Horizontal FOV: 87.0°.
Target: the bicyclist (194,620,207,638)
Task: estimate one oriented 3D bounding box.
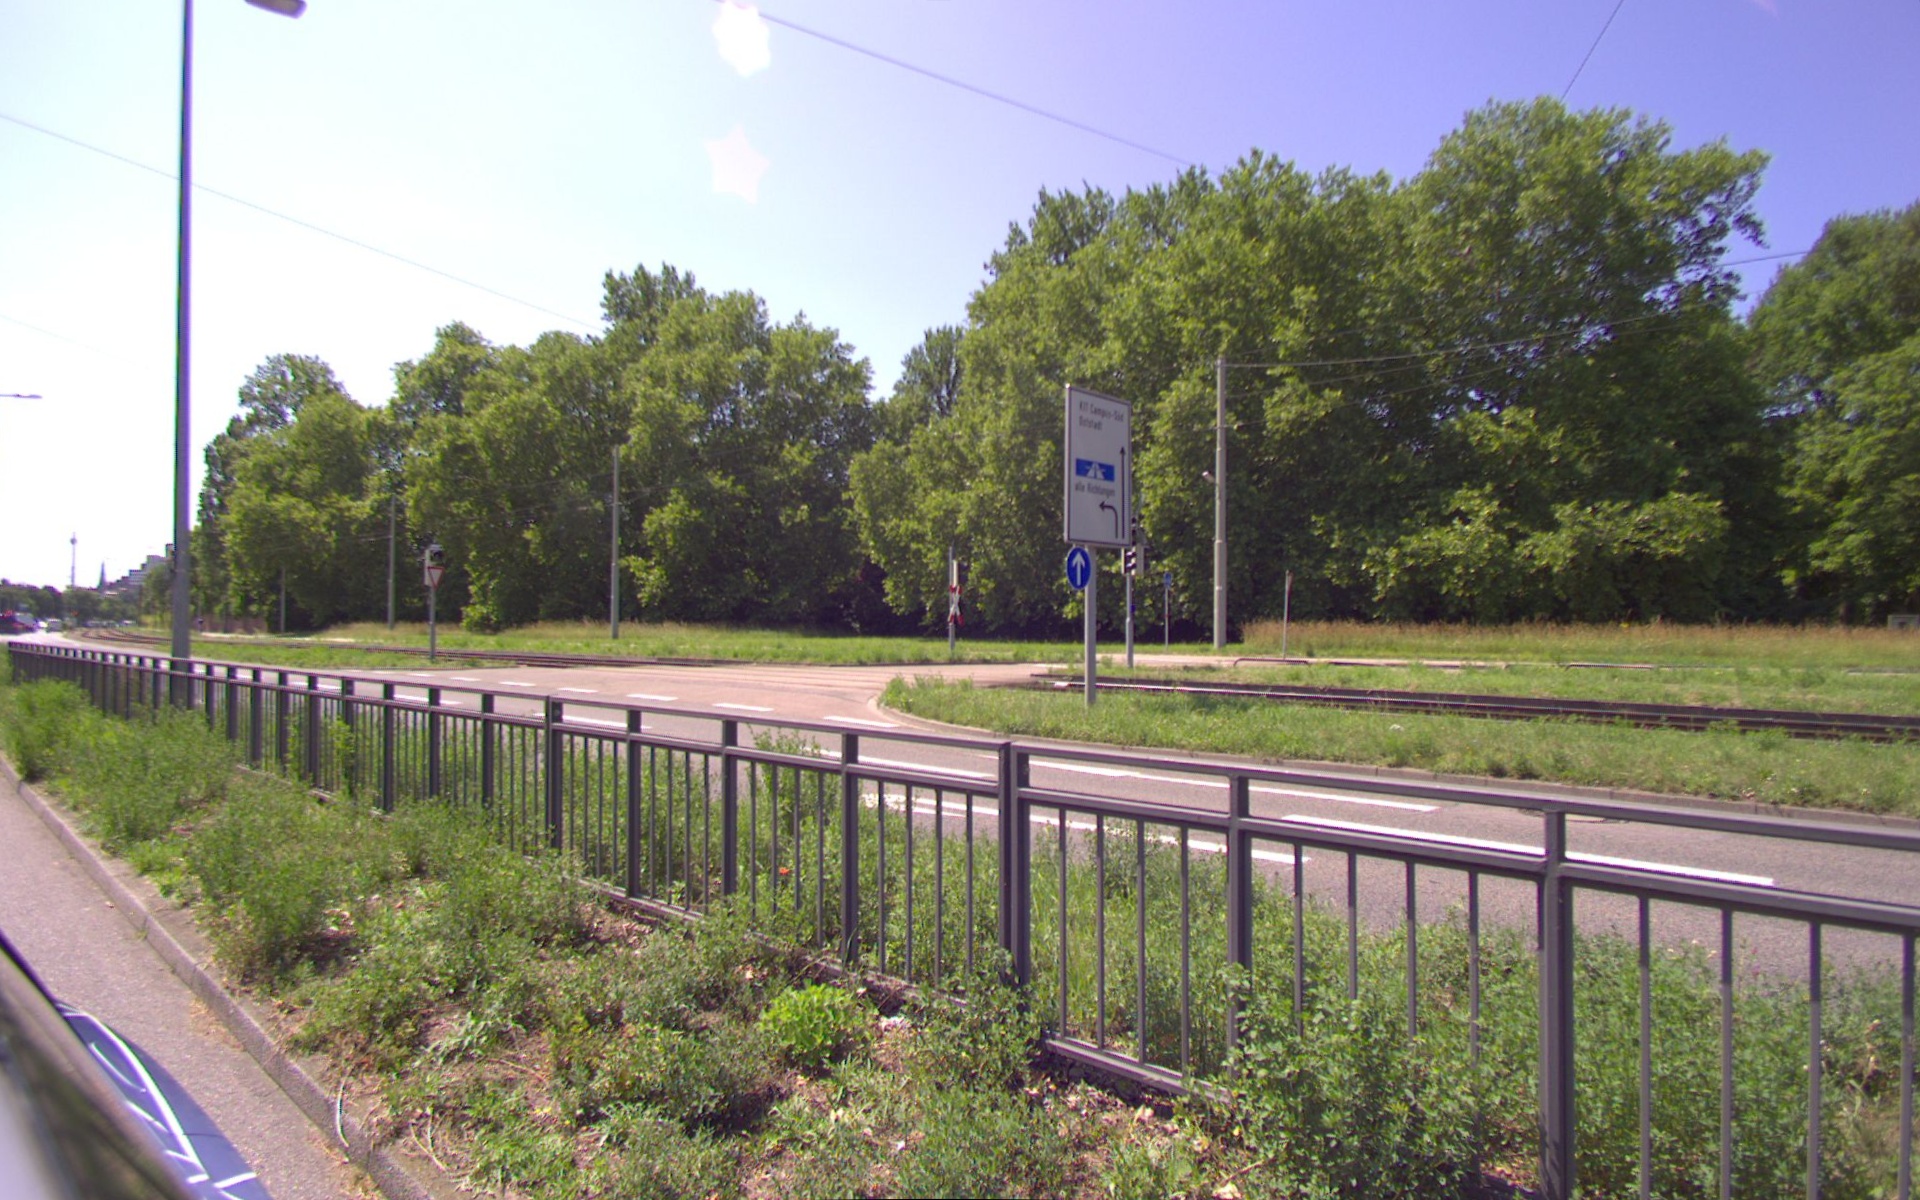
[{"bbox_3d":[-78.537,3.032,104.710,1.117,1.820,0.851,-1,-2,41],"label":"bicyclist"}]

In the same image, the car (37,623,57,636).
[{"bbox_3d":[-136.793,4.392,151.608,1.970,1.871,4.003,1,-2,-44],"label":"car"}]

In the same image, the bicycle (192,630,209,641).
[{"bbox_3d":[-78.591,3.651,104.713,2.785,1.171,0.851,-1,-2,41],"label":"bicycle"}]

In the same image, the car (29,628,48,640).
[{"bbox_3d":[-141.786,5.247,155.666,1.970,1.871,4.003,1,-2,-44],"label":"car"}]

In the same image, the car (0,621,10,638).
[{"bbox_3d":[-107.845,3.273,113.451,1.970,1.871,4.004,1,-2,-43],"label":"car"}]
